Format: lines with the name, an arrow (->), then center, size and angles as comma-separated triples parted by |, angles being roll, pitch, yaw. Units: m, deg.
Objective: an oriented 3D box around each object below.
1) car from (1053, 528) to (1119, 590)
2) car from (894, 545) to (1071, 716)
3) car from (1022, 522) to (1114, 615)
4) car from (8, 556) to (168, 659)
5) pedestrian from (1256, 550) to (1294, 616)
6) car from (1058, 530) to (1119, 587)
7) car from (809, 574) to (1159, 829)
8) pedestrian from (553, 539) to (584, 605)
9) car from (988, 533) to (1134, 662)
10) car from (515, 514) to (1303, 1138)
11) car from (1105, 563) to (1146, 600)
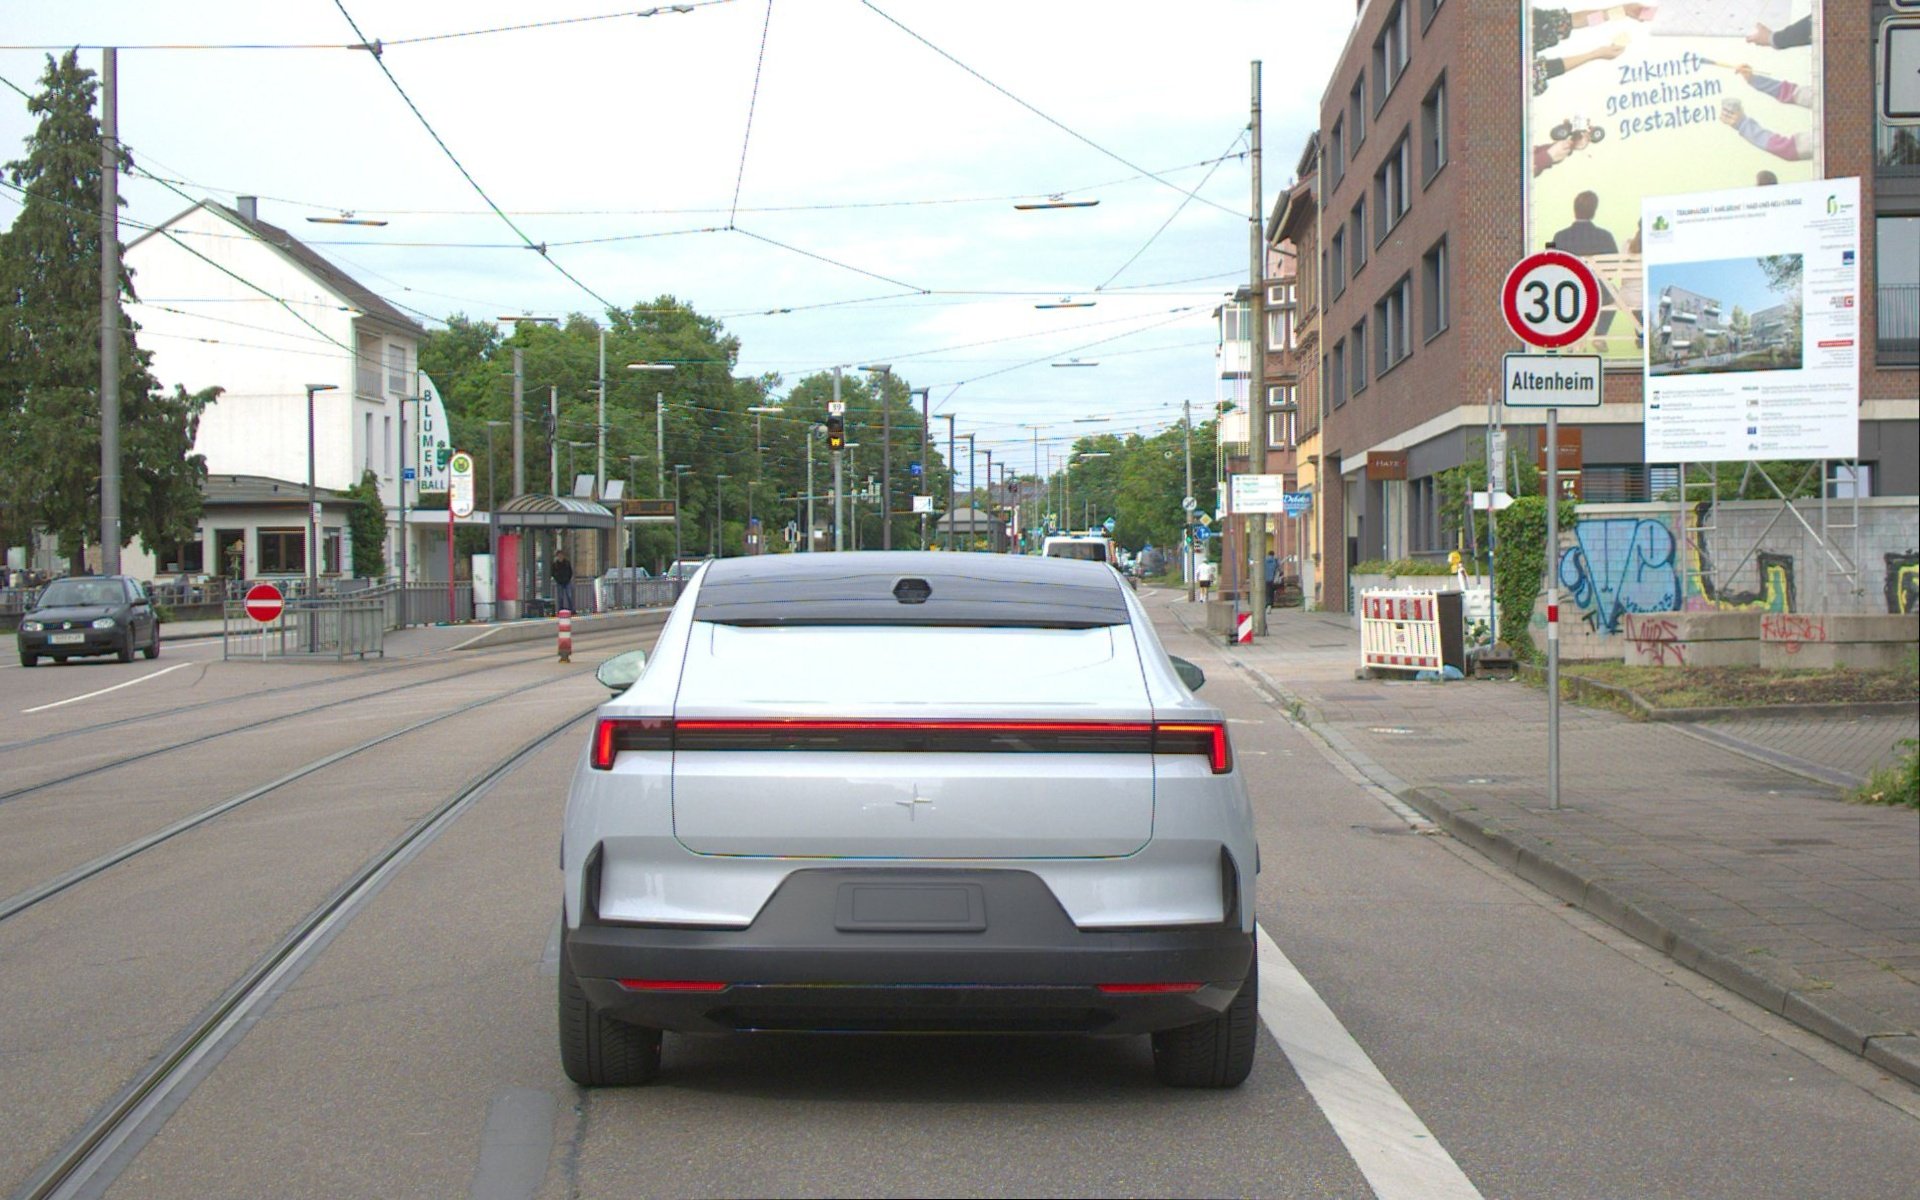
car -> 4.151, -1.348, 113.886 | 1.993, 2.007, 4.000 | 1, 0, -1
car -> 0.287, 0.295, 36.207 | 1.681, 1.682, 3.823 | 1, 0, 3
car -> 2.862, -0.838, 92.061 | 2.226, 2.394, 5.123 | 1, 0, -1
car -> -13.986, 0.097, 55.338 | 1.790, 1.525, 4.142 | -2, 0, -5
pedestrian -> 9.123, -0.503, 99.425 | 0.961, 1.844, 0.975 | -2, 1, 9
car -> 4.607, -1.477, 123.819 | 1.993, 2.007, 4.000 | 1, 0, -1
car -> 0.187, 0.568, 21.785 | 1.993, 1.415, 4.000 | -1, 1, 1
pedestrian -> -9.948, -0.720, 87.367 | 0.615, 1.659, 0.697 | 1, 0, 6
car -> 1.463, -0.064, 51.255 | 1.993, 1.809, 4.000 | -1, 1, -1
car -> -0.188, 0.575, 10.798 | 1.999, 1.575, 4.000 | 1, 0, -2
car -> 9.135, -1.002, 190.351 | 1.993, 2.007, 4.000 | 1, 0, -1
